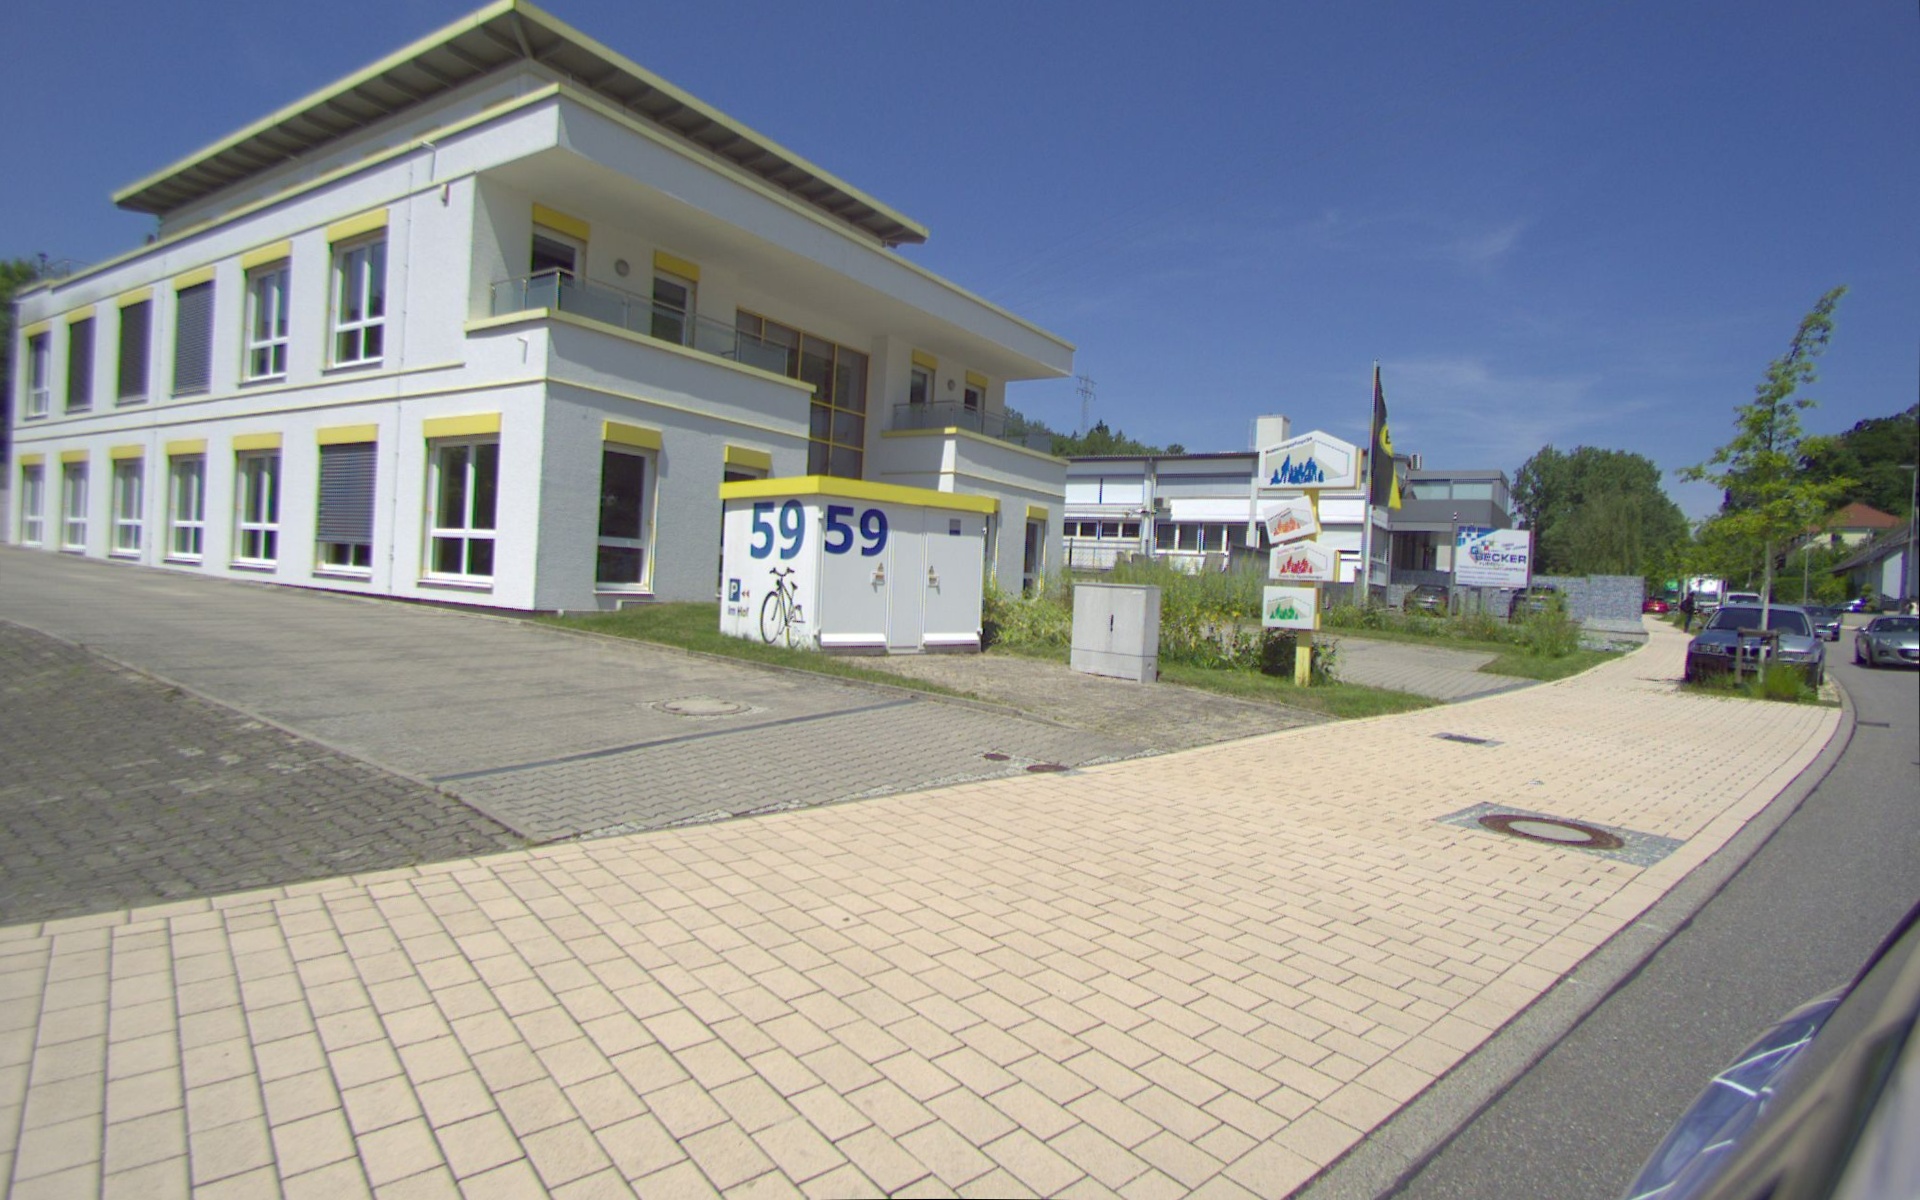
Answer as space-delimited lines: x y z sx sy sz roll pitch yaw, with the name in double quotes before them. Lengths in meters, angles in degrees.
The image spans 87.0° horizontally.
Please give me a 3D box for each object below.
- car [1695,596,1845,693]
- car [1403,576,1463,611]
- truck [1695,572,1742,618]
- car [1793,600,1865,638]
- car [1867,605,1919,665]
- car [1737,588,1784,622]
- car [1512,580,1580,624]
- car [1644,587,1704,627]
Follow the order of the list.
"car" 13.921 0.674 17.315 1.671 1.393 3.938 4 3 43
"car" 20.088 -0.267 42.915 1.734 1.382 3.793 2 1 34
"truck" 62.010 -0.458 82.775 2.793 3.456 8.010 4 2 37
"car" 34.697 0.715 40.500 1.901 1.366 3.947 2 1 37
"car" 22.393 0.802 23.614 1.661 1.276 3.501 2 1 40
"car" 47.613 0.287 60.274 1.959 1.856 4.405 4 2 37
"car" 23.361 0.047 40.283 1.988 1.504 3.951 6 3 34
"car" 30.162 0.264 42.819 1.638 1.548 3.824 2 1 30
